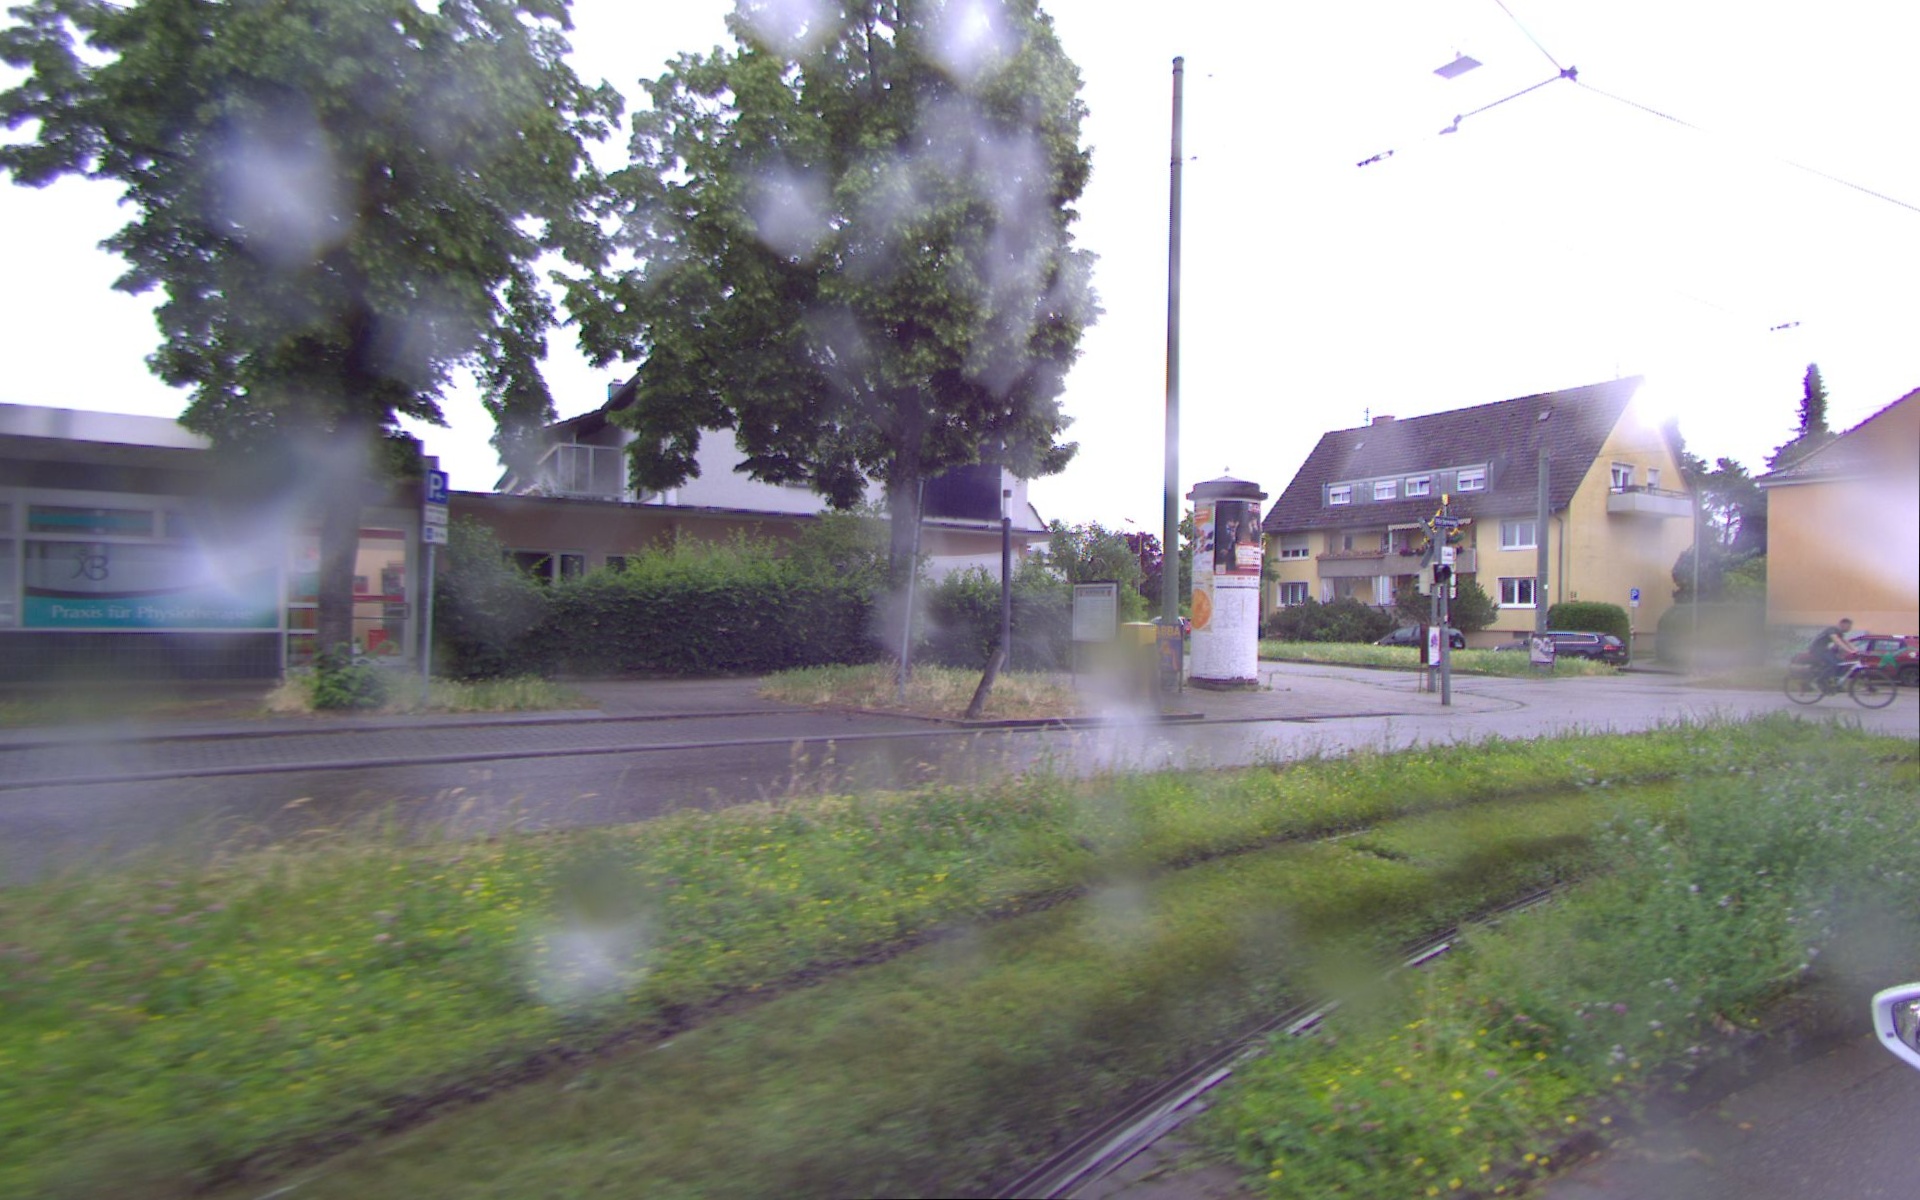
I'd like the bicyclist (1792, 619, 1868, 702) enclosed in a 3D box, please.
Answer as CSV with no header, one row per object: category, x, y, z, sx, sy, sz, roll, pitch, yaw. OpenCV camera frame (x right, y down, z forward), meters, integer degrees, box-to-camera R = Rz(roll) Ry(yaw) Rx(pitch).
bicyclist,17.259,1.184,19.931,0.825,1.579,0.905,2,0,-33

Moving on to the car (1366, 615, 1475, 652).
car,19.900,1.419,43.533,1.741,1.350,3.963,1,1,-33

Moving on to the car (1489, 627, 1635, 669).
car,23.086,1.794,38.688,1.946,1.414,4.465,1,-1,-32

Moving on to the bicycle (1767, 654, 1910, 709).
bicycle,17.298,1.581,19.825,0.815,0.924,1.967,2,0,-33

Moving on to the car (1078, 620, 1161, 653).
car,7.810,1.772,49.490,1.978,1.496,3.966,1,-1,-32

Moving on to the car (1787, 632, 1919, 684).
car,28.231,1.770,31.176,1.704,1.357,3.584,1,1,-33
